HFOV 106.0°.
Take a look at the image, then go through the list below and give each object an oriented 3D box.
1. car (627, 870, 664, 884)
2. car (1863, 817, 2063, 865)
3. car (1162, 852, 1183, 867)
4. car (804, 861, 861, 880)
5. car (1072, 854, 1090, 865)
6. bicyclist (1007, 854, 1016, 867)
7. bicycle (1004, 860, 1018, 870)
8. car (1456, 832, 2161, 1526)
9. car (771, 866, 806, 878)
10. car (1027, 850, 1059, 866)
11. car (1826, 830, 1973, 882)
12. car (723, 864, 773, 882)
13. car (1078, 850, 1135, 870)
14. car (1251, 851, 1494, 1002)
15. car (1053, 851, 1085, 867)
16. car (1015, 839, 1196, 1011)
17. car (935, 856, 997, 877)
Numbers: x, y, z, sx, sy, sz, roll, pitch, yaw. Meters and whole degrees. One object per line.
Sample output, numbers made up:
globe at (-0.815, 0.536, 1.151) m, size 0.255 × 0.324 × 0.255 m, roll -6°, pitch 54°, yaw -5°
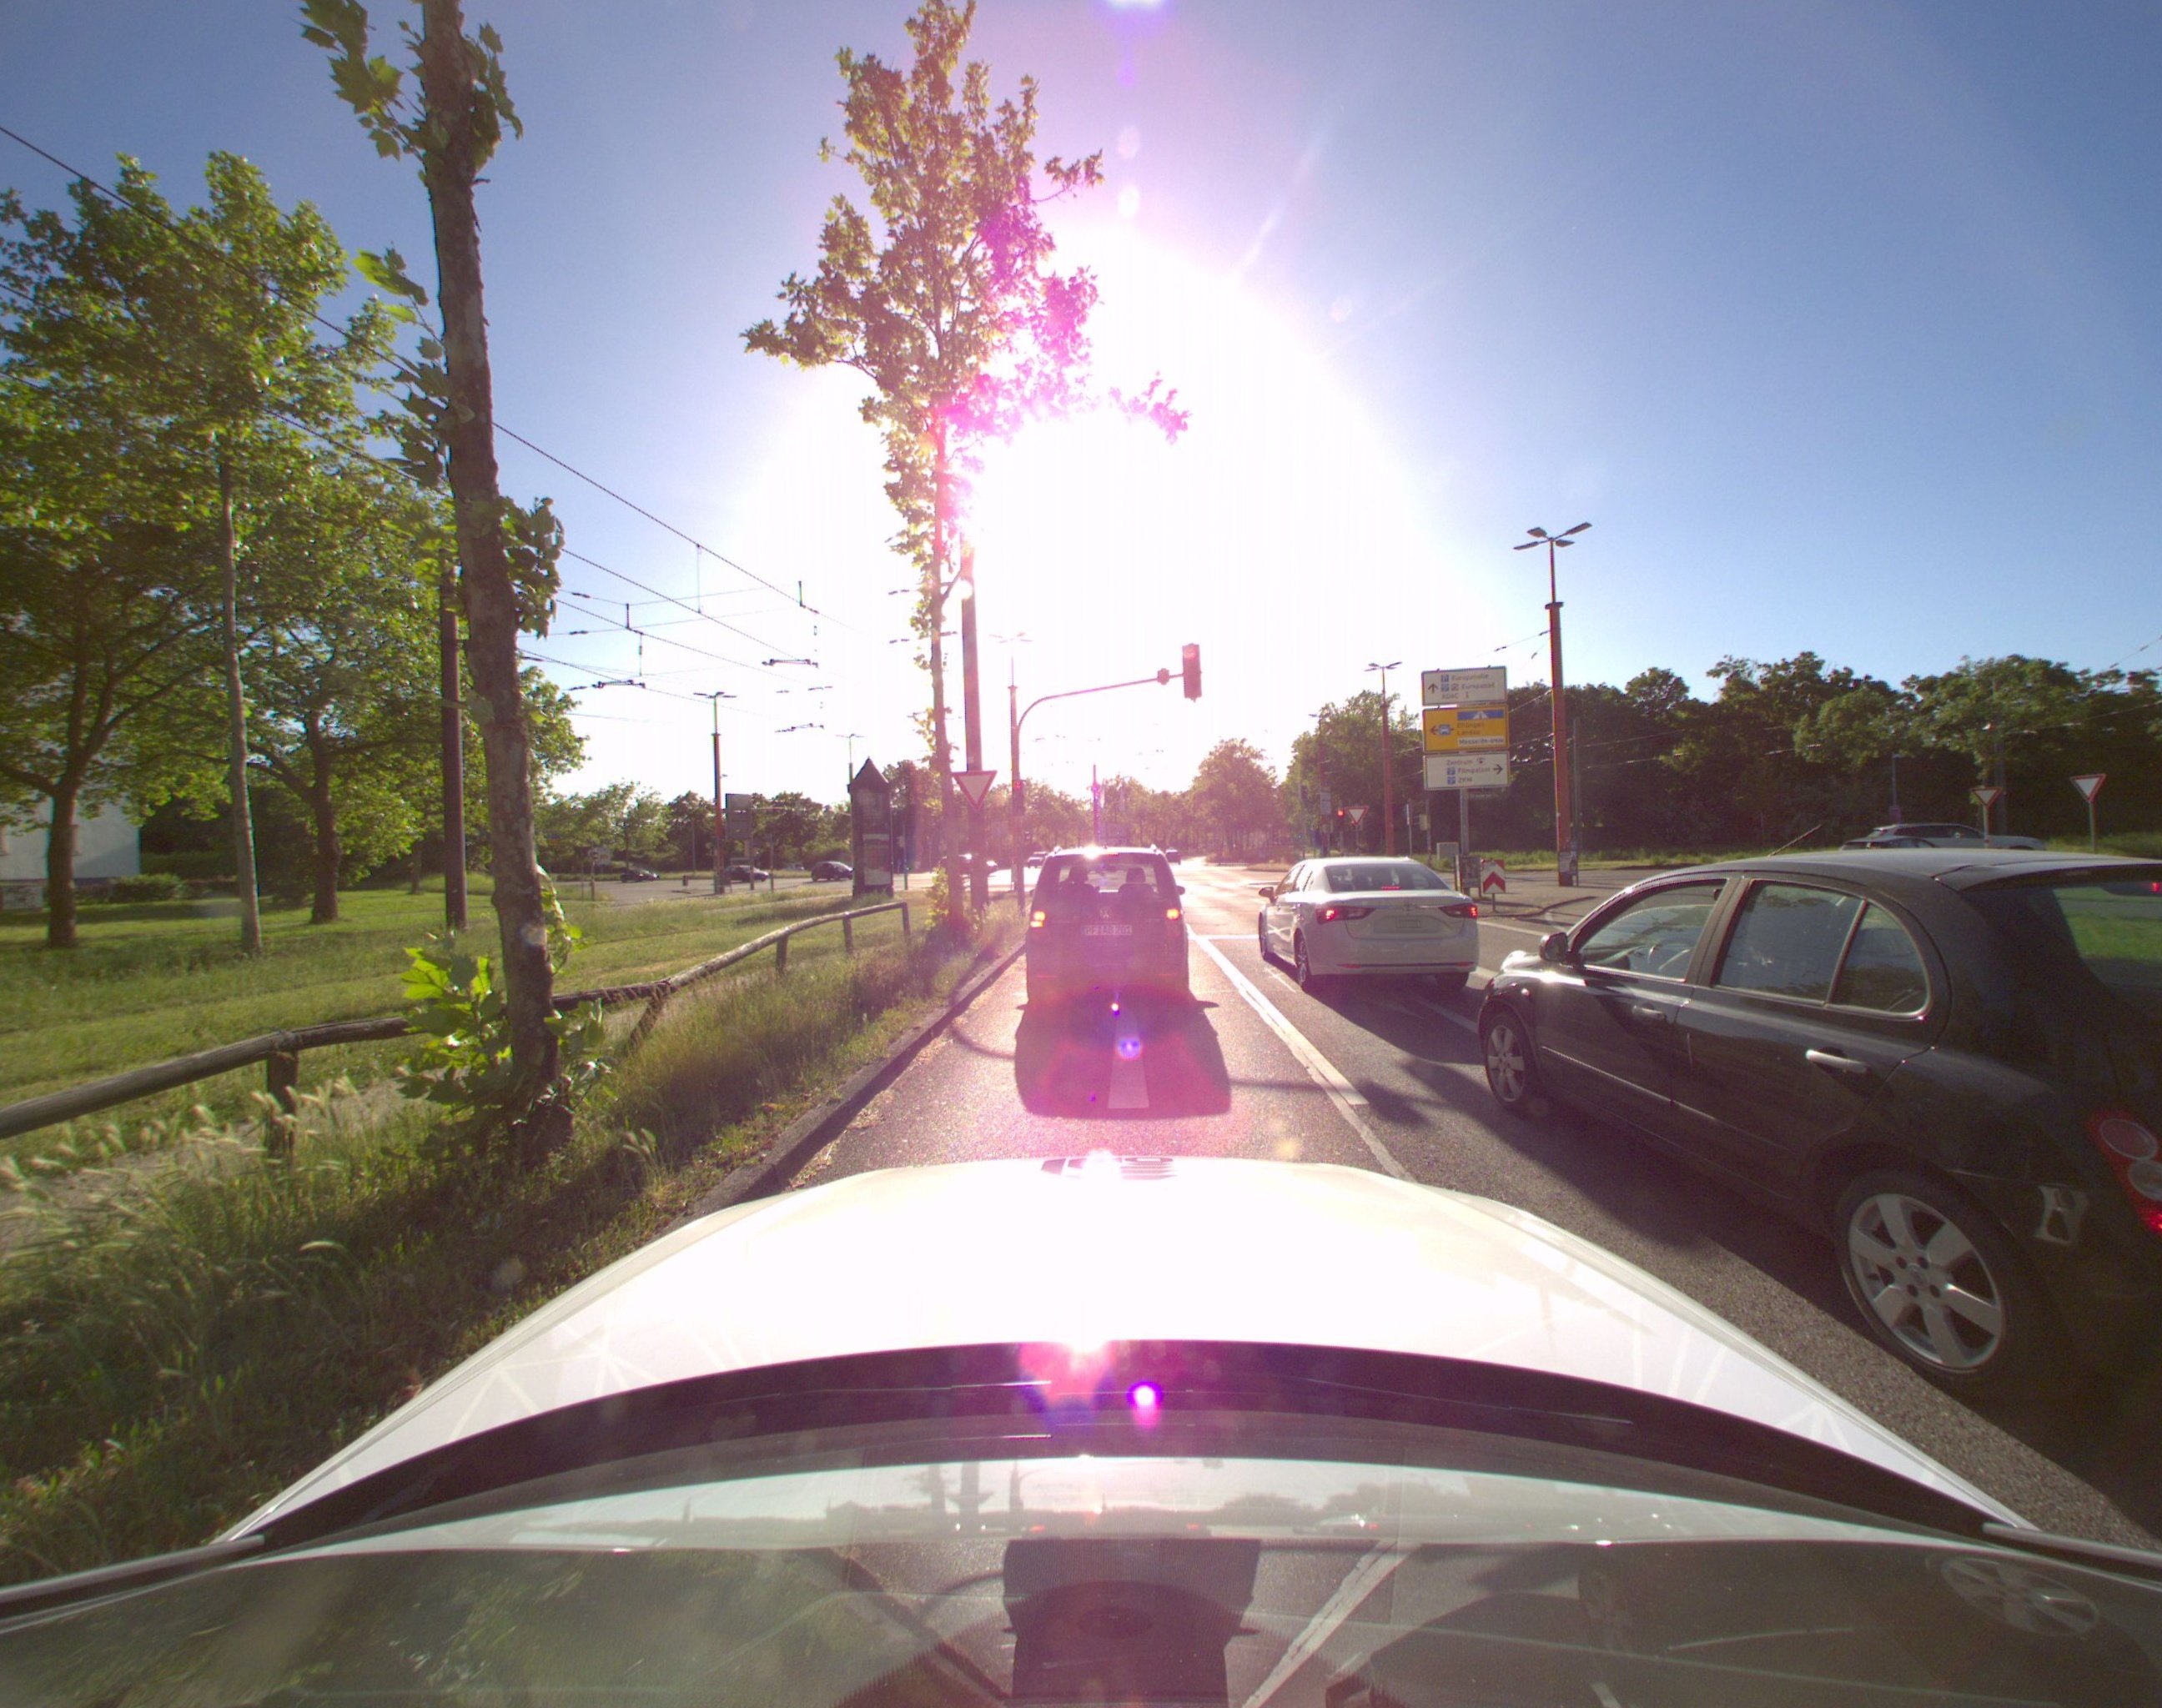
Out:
car at (-43.871, 2.340, 82.077) m, size 3.765 × 1.310 × 1.753 m, roll -2°, pitch 0°, yaw 34°
car at (32.955, -0.443, 30.653) m, size 4.734 × 1.598 × 1.926 m, roll -2°, pitch 0°, yaw 31°
car at (10.026, 0.585, 88.998) m, size 1.895 × 1.464 × 4.237 m, roll -2°, pitch 0°, yaw 12°
car at (-19.880, 1.326, 65.255) m, size 4.007 × 1.464 × 1.924 m, roll -2°, pitch 0°, yaw 22°
car at (-0.019, 0.954, 138.420) m, size 1.979 × 1.684 × 4.846 m, roll -2°, pitch 0°, yaw 14°
bicyclist at (-8.115, 0.763, 95.008) m, size 0.686 × 1.457 × 0.879 m, roll -2°, pitch -1°, yaw 20°
bicycle at (-8.145, 1.230, 94.788) m, size 0.728 × 1.090 × 1.971 m, roll -2°, pitch 0°, yaw 21°
car at (3.171, 0.695, 3.508) m, size 1.550 × 1.506 × 3.517 m, roll -2°, pitch 0°, yaw 2°
car at (-34.929, 2.148, 97.221) m, size 3.770 × 1.310 × 1.672 m, roll -2°, pitch 0°, yaw 21°
car at (-4.369, 0.442, 93.836) m, size 1.977 × 1.684 × 4.853 m, roll -2°, pitch 0°, yaw 20°
car at (25.675, 0.044, 25.551) m, size 3.892 × 1.469 × 1.740 m, roll -2°, pitch 0°, yaw -20°
car at (-28.762, 1.615, 70.339) m, size 4.186 × 1.464 × 1.926 m, roll -2°, pitch 0°, yaw 32°
car at (2.034, 0.511, 65.617) m, size 4.237 × 1.464 × 1.895 m, roll -2°, pitch 0°, yaw -32°
car at (3.300, 0.720, 10.112) m, size 1.708 × 1.454 × 4.147 m, roll -2°, pitch 0°, yaw 3°
car at (-1.341, 0.516, 91.996) m, size 1.977 × 1.684 × 4.853 m, roll -2°, pitch 0°, yaw 20°
car at (0.299, 0.698, 9.984) m, size 1.731 × 1.641 × 4.002 m, roll -2°, pitch 0°, yaw 2°
car at (-8.722, 0.914, 62.012) m, size 4.342 × 1.464 × 1.915 m, roll -2°, pitch 0°, yaw 2°
